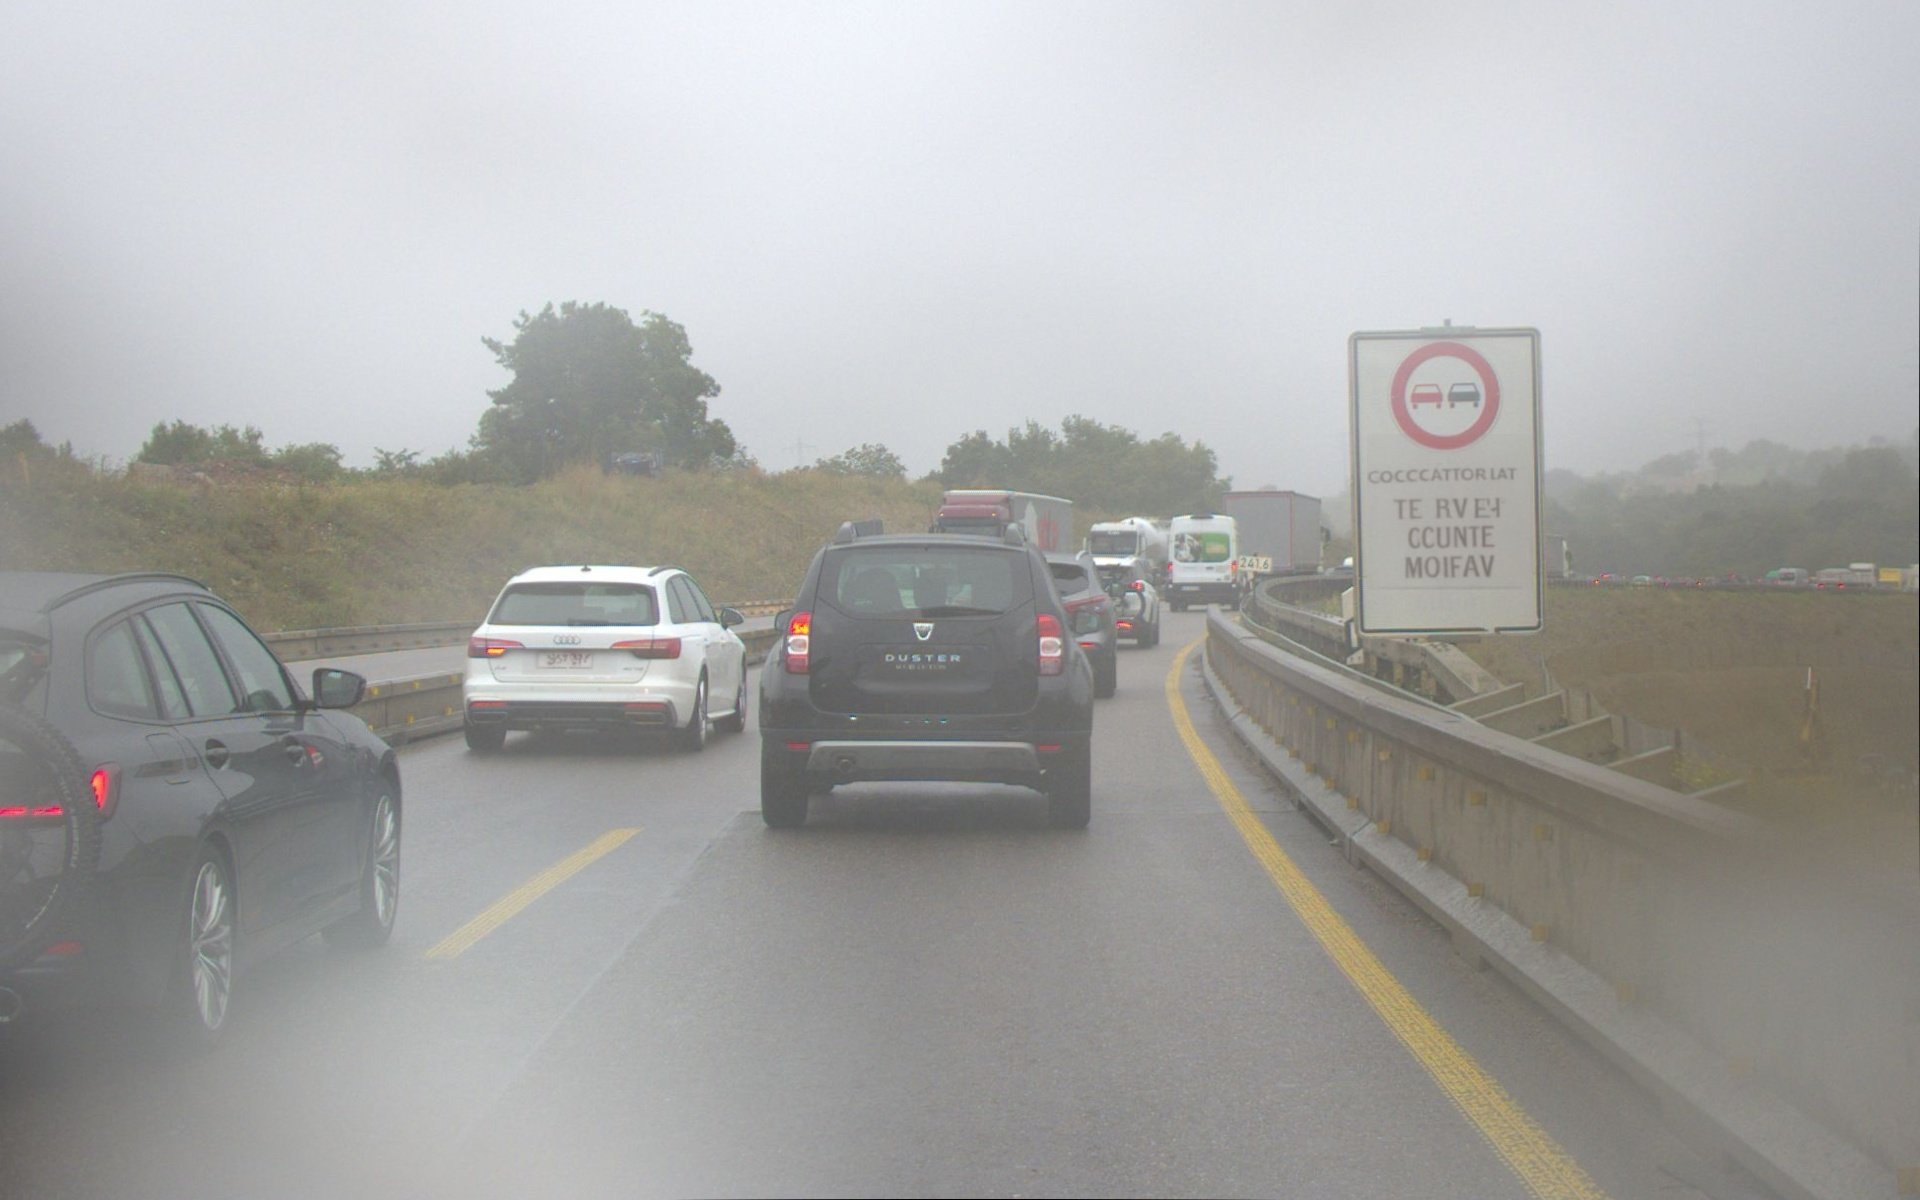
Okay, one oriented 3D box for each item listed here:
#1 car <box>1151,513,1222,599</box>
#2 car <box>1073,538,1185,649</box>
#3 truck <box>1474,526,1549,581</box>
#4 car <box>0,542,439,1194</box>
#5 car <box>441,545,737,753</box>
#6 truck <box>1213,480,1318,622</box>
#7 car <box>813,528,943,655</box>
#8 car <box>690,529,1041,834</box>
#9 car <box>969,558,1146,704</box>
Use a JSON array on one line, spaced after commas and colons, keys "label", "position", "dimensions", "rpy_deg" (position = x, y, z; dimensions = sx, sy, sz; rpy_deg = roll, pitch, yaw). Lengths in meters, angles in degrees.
[{"label": "car", "position": [6.620, -1.256, 100.221], "dimensions": [1.827, 2.429, 4.157], "rpy_deg": [0, 0, 7]}, {"label": "car", "position": [2.868, -0.117, 58.614], "dimensions": [1.826, 1.809, 4.000], "rpy_deg": [0, 0, 3]}, {"label": "truck", "position": [38.297, -3.240, 238.550], "dimensions": [3.476, 3.702, 8.409], "rpy_deg": [0, 1, 21]}, {"label": "car", "position": [-3.026, 0.609, 11.218], "dimensions": [1.735, 1.457, 5.630], "rpy_deg": [0, 2, 1]}, {"label": "car", "position": [-2.822, 0.348, 26.931], "dimensions": [1.826, 1.494, 4.000], "rpy_deg": [0, 0, 1]}, {"label": "truck", "position": [11.421, -1.759, 127.633], "dimensions": [3.544, 5.060, 10.438], "rpy_deg": [0, 0, 7]}, {"label": "car", "position": [-1.185, -0.125, 51.093], "dimensions": [1.826, 1.809, 4.000], "rpy_deg": [0, 0, 0]}, {"label": "car", "position": [-0.463, 0.420, 19.986], "dimensions": [1.826, 1.585, 4.000], "rpy_deg": [0, 0, 1]}, {"label": "car", "position": [1.031, 0.312, 37.513], "dimensions": [1.826, 1.494, 4.000], "rpy_deg": [0, 0, 1]}]
